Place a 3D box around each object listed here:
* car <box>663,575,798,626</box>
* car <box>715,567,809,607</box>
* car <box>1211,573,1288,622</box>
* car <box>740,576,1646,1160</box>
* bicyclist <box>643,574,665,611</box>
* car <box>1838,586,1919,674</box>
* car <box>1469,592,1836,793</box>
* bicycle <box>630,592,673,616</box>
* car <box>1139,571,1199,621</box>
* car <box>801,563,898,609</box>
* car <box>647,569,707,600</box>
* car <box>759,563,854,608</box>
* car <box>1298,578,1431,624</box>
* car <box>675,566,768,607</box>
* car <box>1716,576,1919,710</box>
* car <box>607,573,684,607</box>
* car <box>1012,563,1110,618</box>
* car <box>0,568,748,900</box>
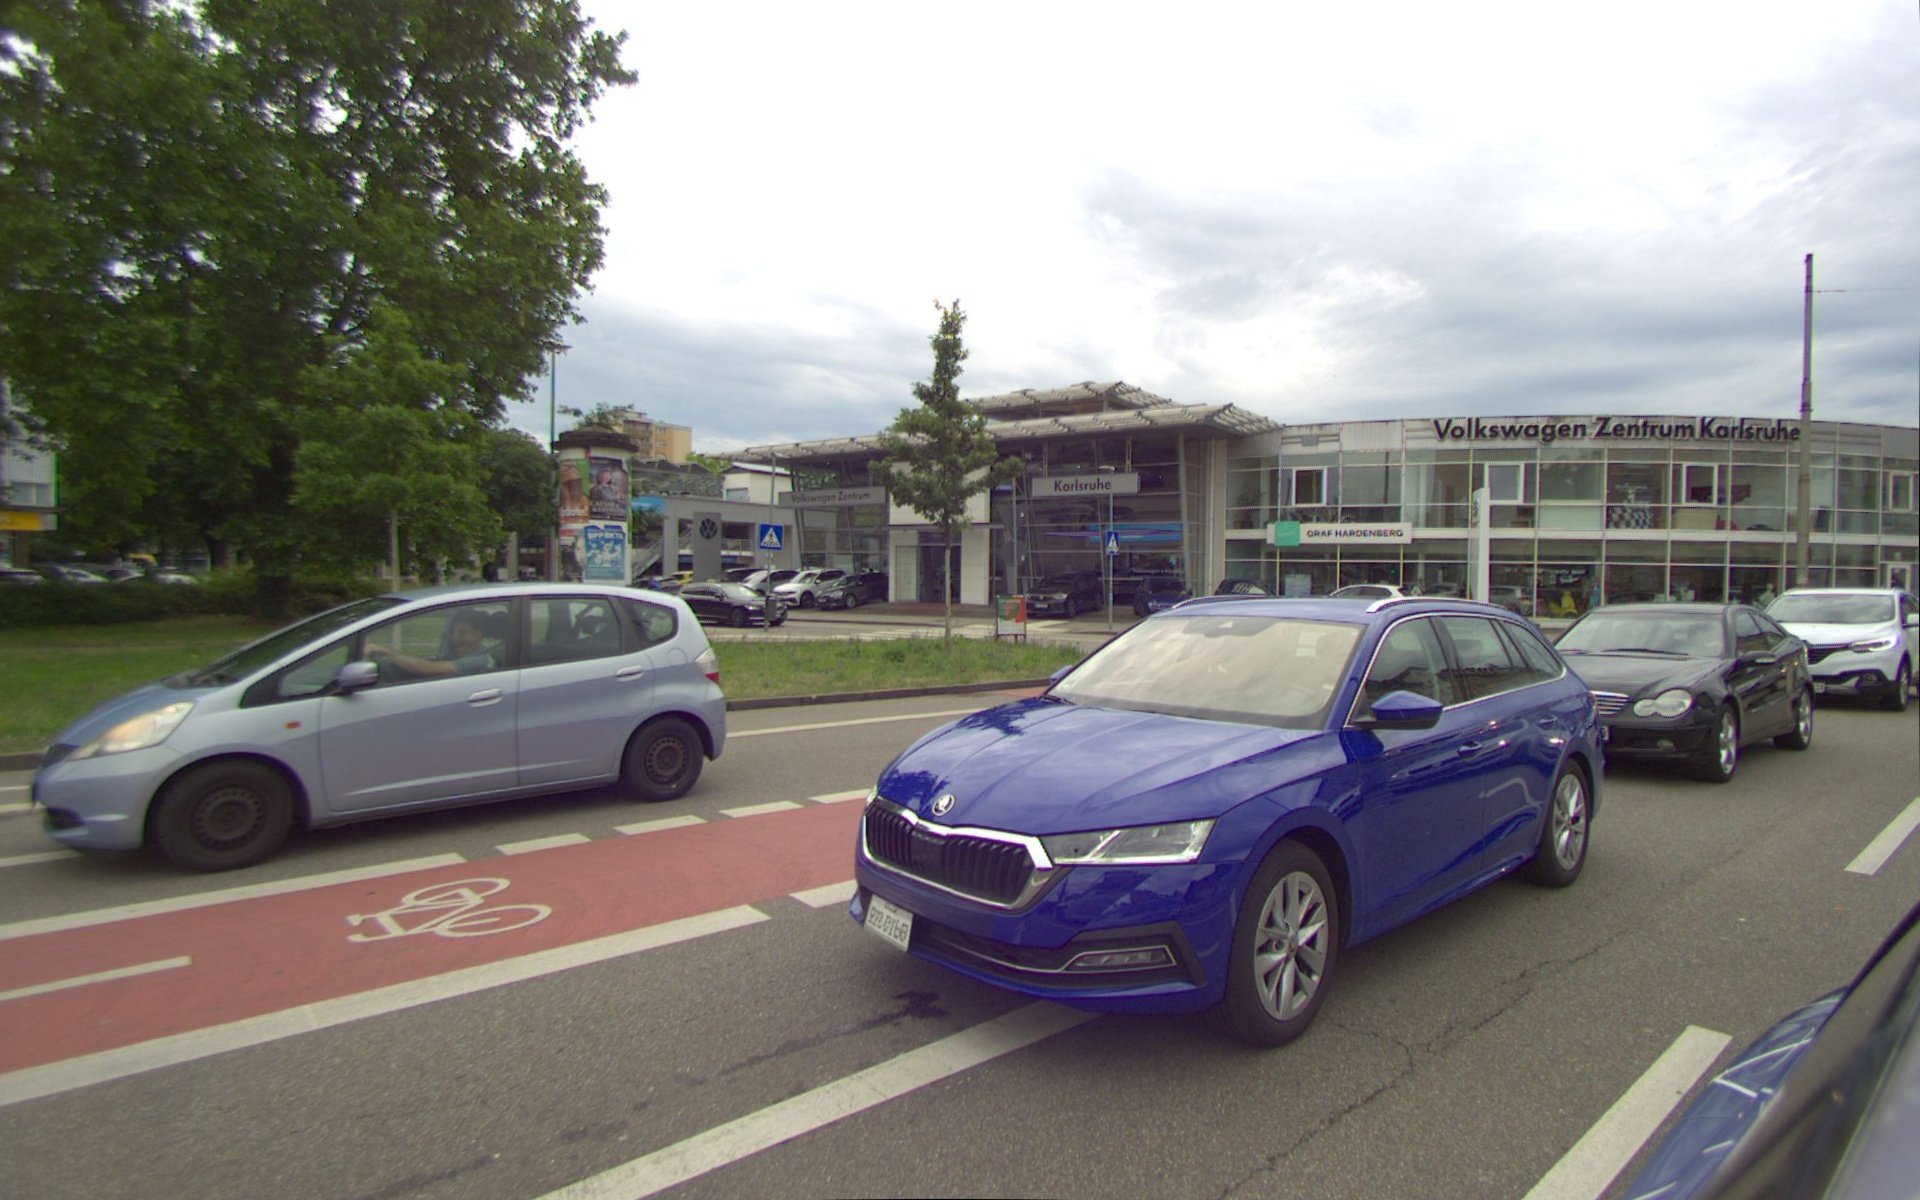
[{"bbox_3d":[-7.924,-0.033,34.714,4.855,1.562,1.866,2,2,37],"label":"car"},{"bbox_3d":[-9.465,-0.676,48.600,1.946,1.483,4.179,2,7,36],"label":"car"},{"bbox_3d":[9.983,-0.149,35.179,1.759,1.580,4.030,1,2,4],"label":"car"},{"bbox_3d":[1.485,0.630,4.738,4.675,1.454,1.768,-1,1,-41],"label":"car"},{"bbox_3d":[-12.729,-0.333,42.043,0.687,1.515,0.551,1,1,22],"label":"bicyclist"},{"bbox_3d":[17.537,0.499,18.219,3.900,1.454,1.908,-1,2,-38],"label":"car"},{"bbox_3d":[6.493,0.639,9.288,4.346,1.387,1.768,-1,1,-41],"label":"car"},{"bbox_3d":[-12.837,0.161,42.105,1.771,0.923,0.558,1,1,25],"label":"bicycle"},{"bbox_3d":[7.394,-0.207,35.859,1.927,1.543,4.217,1,3,12],"label":"car"},{"bbox_3d":[-4.894,-0.681,45.243,1.946,1.472,4.182,2,9,36],"label":"car"},{"bbox_3d":[-15.101,-0.846,53.954,3.105,1.530,1.423,2,6,37],"label":"car"},{"bbox_3d":[-7.083,-0.719,47.024,1.946,1.614,4.181,2,8,36],"label":"car"},{"bbox_3d":[13.738,-0.009,34.485,3.889,1.459,1.708,2,2,39],"label":"car"},{"bbox_3d":[-11.762,-0.732,50.057,1.946,1.529,4.180,2,8,36],"label":"car"},{"bbox_3d":[12.385,0.476,14.105,4.070,1.578,1.982,-1,2,-38],"label":"car"},{"bbox_3d":[-16.123,-0.528,51.890,4.127,1.530,1.635,2,6,37],"label":"car"},{"bbox_3d":[3.907,-0.433,38.472,1.941,1.662,4.629,1,6,31],"label":"car"},{"bbox_3d":[-3.501,0.574,6.531,3.868,1.502,1.706,-1,1,-43],"label":"car"}]
